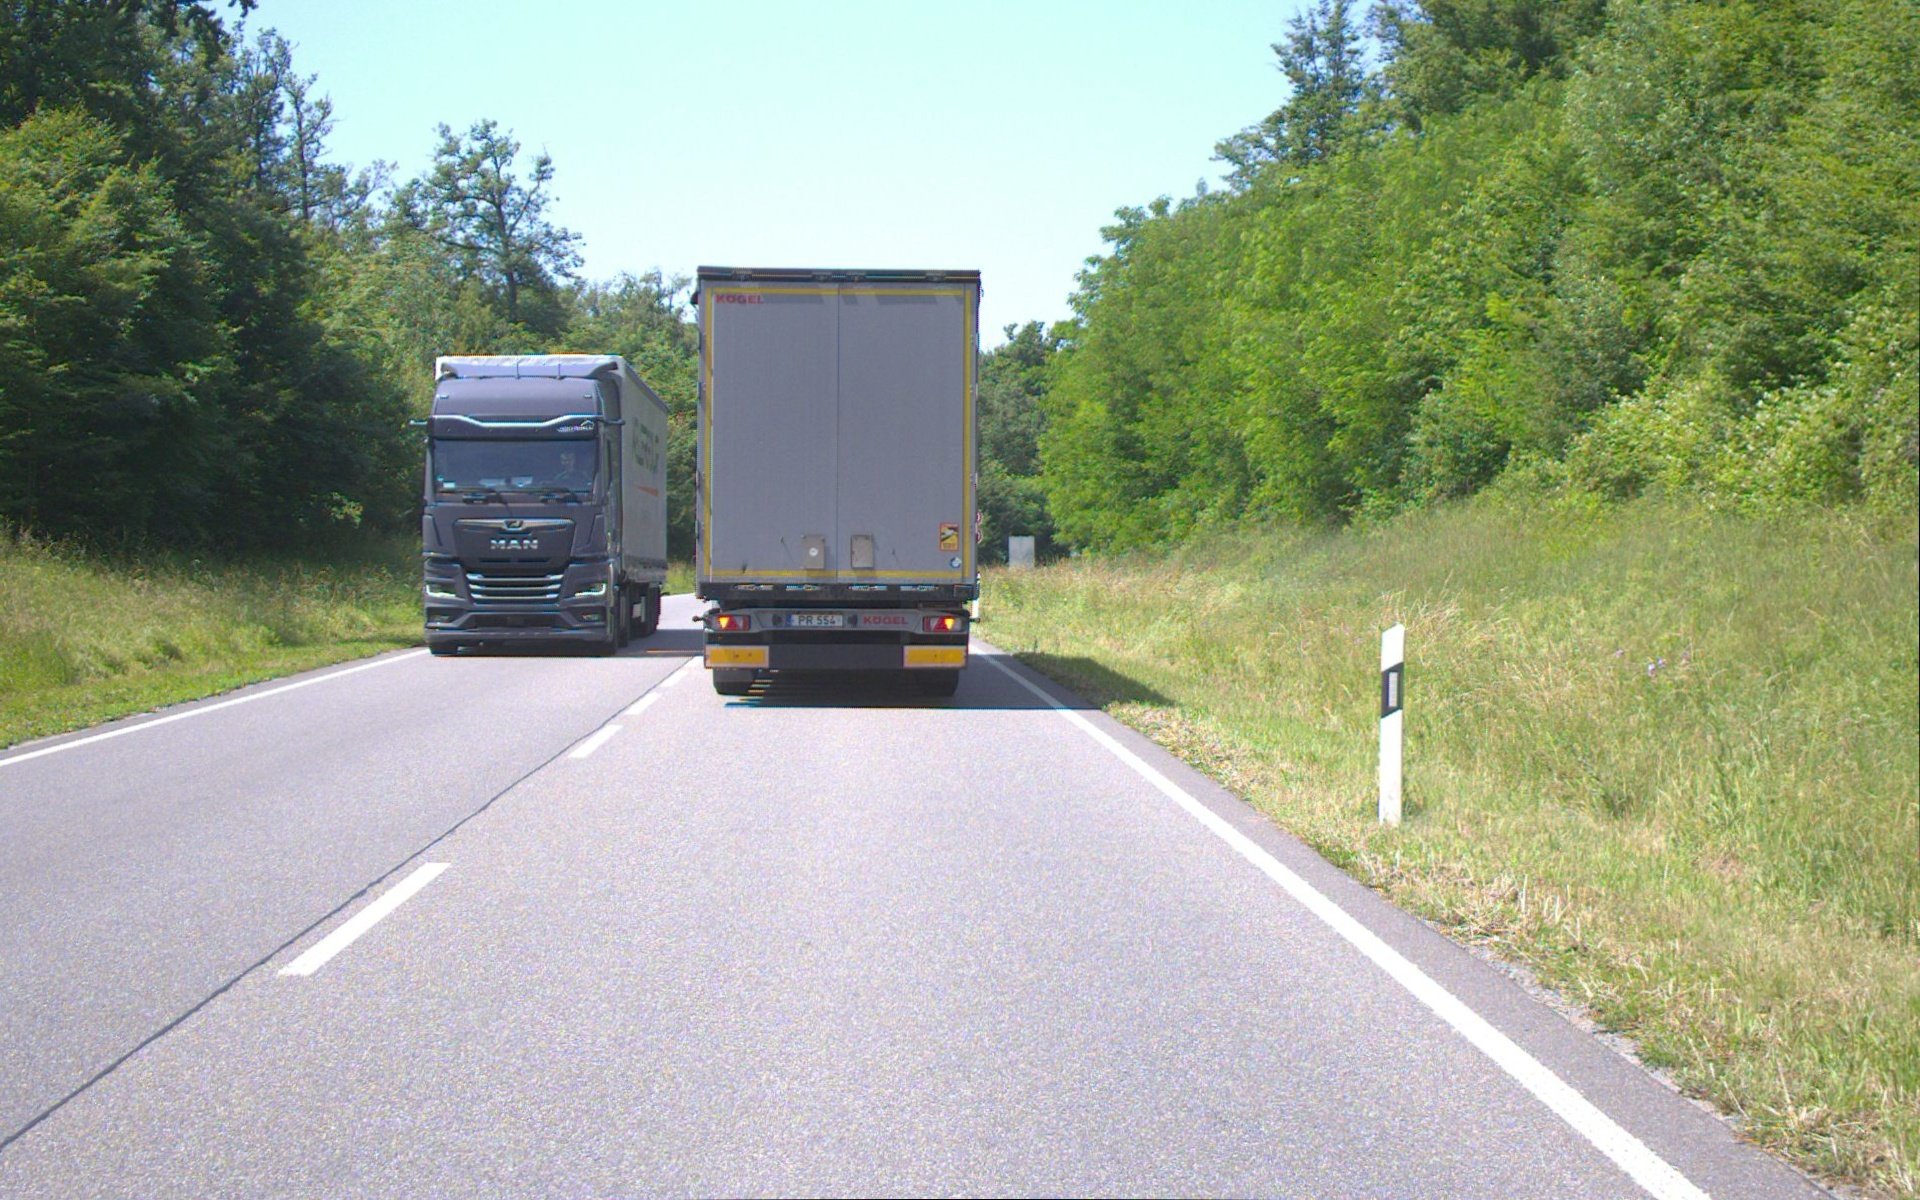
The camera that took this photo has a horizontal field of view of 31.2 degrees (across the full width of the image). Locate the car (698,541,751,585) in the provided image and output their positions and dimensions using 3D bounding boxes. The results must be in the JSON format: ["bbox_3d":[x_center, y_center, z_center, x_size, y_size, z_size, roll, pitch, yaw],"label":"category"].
[{"bbox_3d":[-8.227,-1.314,120.533,1.660,1.490,3.806,-1,1,-1],"label":"car"}]

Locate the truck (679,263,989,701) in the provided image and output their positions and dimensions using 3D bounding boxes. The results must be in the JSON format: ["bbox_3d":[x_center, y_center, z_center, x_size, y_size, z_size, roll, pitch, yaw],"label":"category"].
[{"bbox_3d":[-1.388,-1.161,36.998,2.761,3.933,12.199,0,1,-2],"label":"truck"}]

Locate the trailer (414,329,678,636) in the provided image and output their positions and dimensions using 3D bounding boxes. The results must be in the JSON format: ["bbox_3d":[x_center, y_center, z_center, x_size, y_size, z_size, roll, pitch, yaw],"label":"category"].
[{"bbox_3d":[-6.272,-1.754,54.279,2.941,4.238,13.621,0,1,-2],"label":"trailer"}]

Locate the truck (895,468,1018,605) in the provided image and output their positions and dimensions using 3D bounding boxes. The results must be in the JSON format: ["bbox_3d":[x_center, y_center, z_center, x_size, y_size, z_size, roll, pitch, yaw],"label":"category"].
[{"bbox_3d":[-0.258,-2.156,118.182,3.793,4.358,14.921,1,1,-1],"label":"truck"}]

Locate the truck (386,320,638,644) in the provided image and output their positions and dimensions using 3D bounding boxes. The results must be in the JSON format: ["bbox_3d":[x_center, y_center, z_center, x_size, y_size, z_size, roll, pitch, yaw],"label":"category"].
[{"bbox_3d":[-6.059,-1.587,47.305,2.922,4.201,5.344,0,1,-2],"label":"truck"}]
